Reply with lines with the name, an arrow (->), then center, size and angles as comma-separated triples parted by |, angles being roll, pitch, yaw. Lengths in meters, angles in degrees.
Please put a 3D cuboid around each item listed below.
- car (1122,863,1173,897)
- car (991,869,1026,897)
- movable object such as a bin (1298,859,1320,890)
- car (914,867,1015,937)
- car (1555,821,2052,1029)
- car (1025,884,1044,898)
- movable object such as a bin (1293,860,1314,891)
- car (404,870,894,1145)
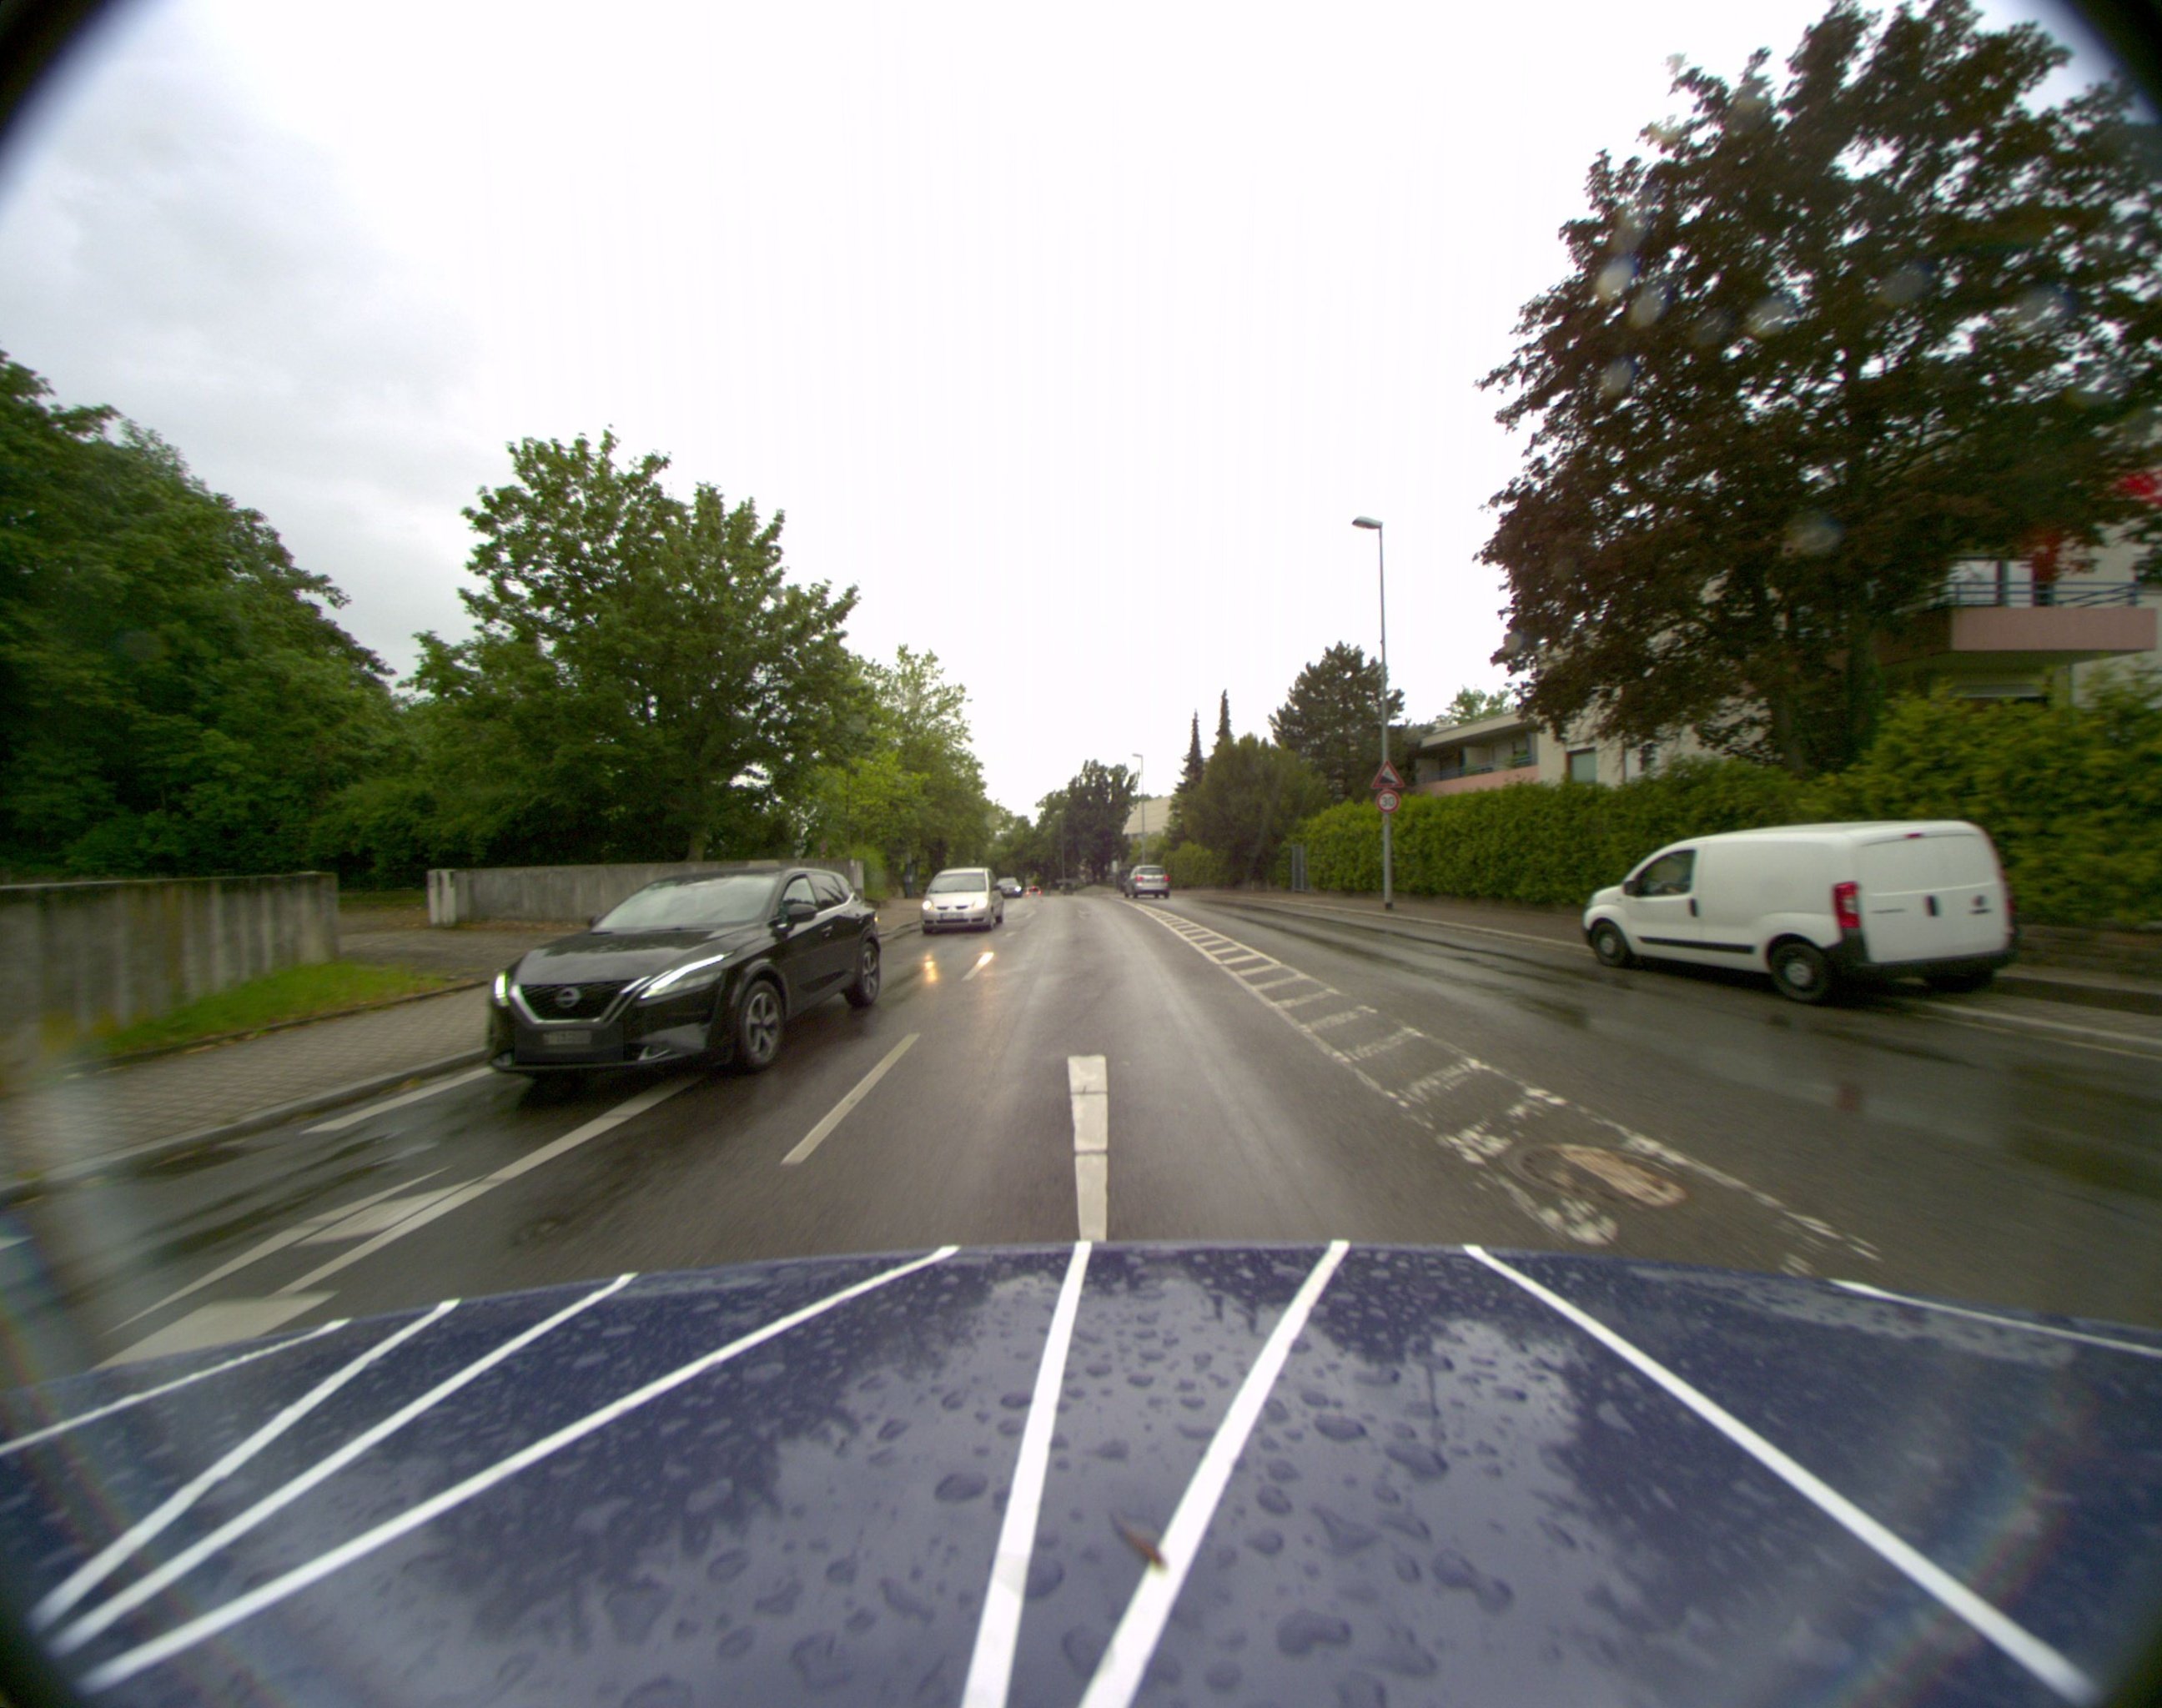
car -> 3.253, 1.253, 37.726 | 1.640, 1.570, 4.055 | 1, -1, -8
car -> -5.029, 2.071, 53.288 | 2.036, 1.690, 4.002 | -4, -4, -2
movable object such as a bin -> 9.776, 0.888, 32.572 | 0.549, 1.318, 0.806 | -3, -2, -5
car -> -2.854, 1.150, 19.513 | 1.639, 1.496, 4.001 | -2, 0, 4
car -> 7.646, 0.647, 8.712 | 1.705, 1.698, 3.978 | -5, 0, -2
car -> -6.238, 4.946, 102.113 | 1.870, 1.904, 5.026 | 0, -2, -11
movable object such as a bin -> 9.792, 0.957, 33.425 | 0.549, 1.318, 0.806 | -3, -2, -5
car -> -3.262, 1.026, 6.924 | 1.794, 1.594, 4.254 | -3, 0, 3
